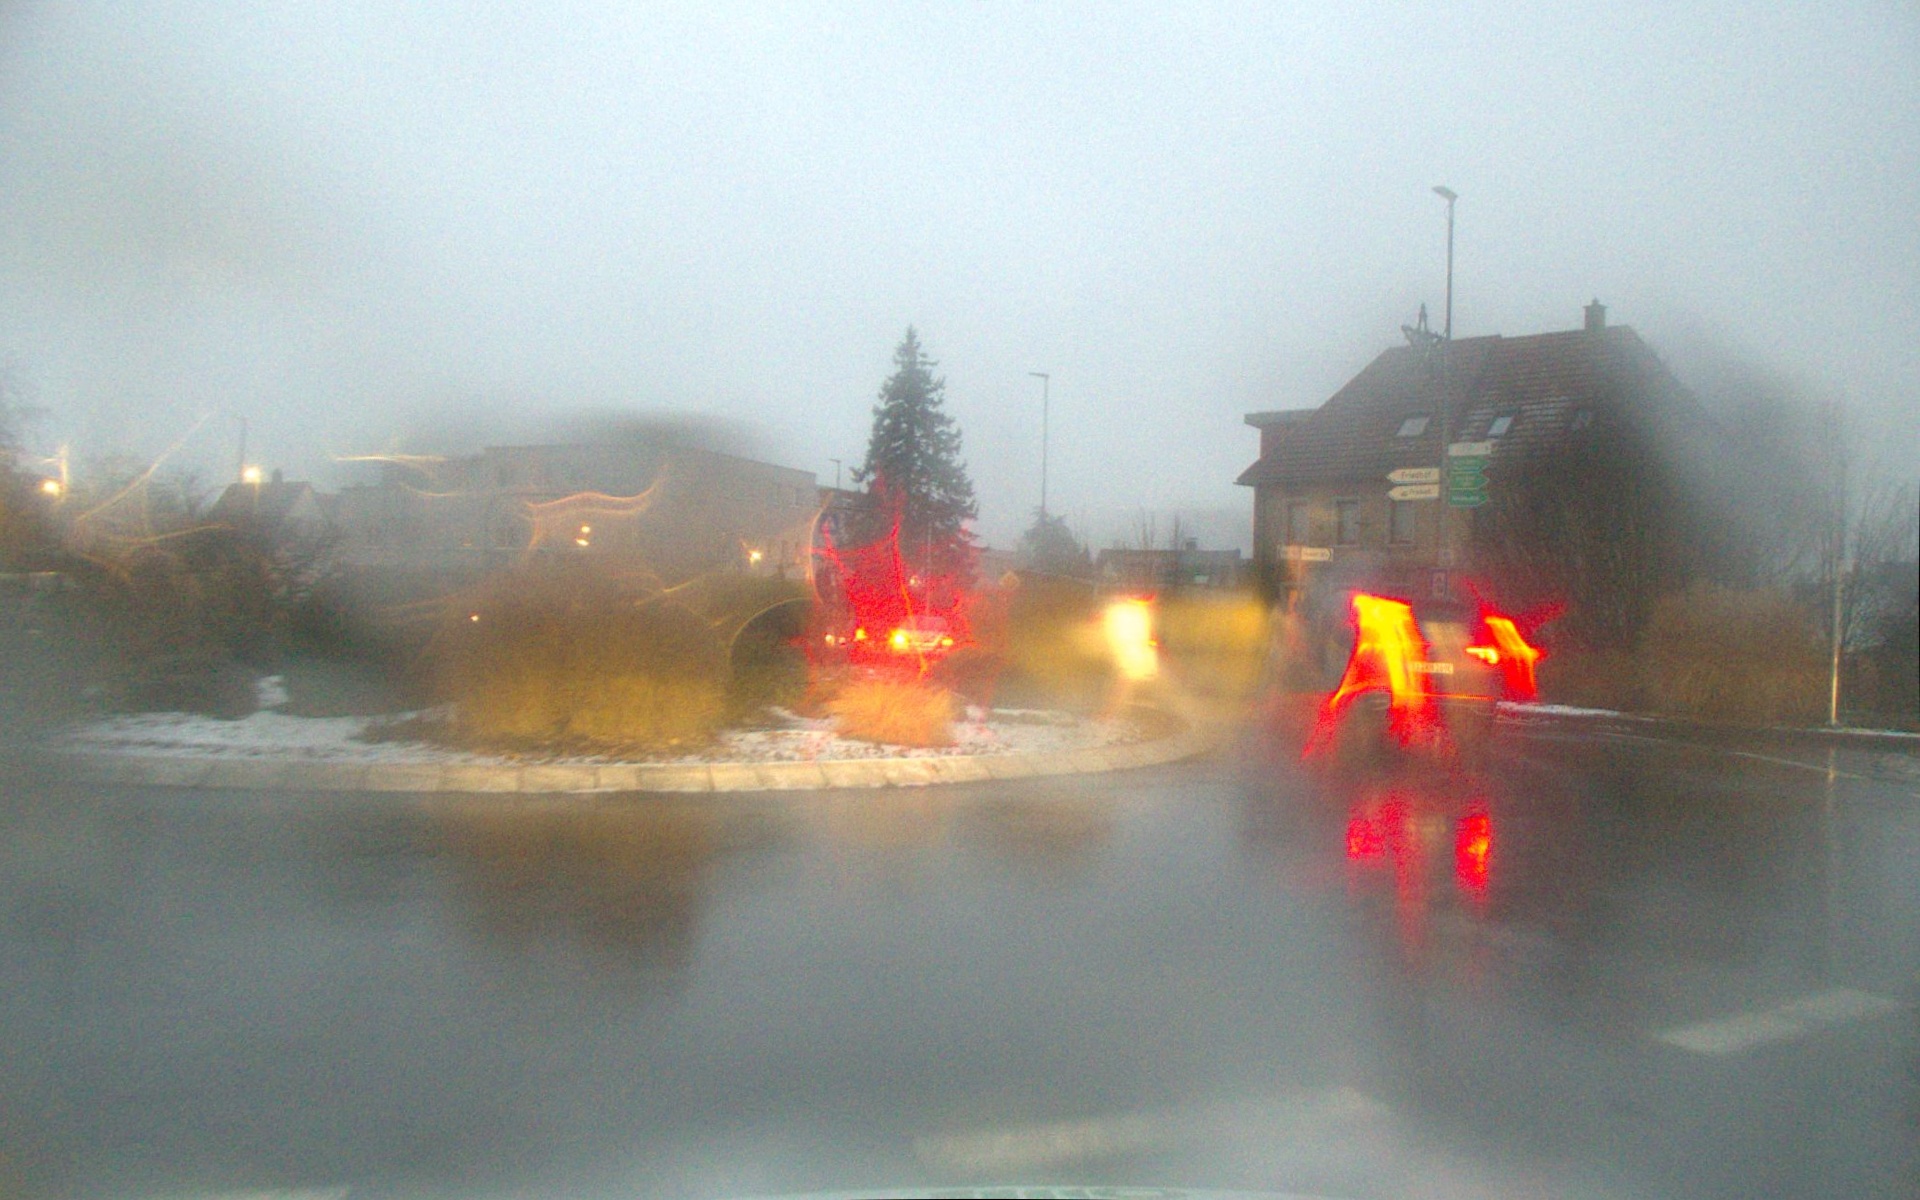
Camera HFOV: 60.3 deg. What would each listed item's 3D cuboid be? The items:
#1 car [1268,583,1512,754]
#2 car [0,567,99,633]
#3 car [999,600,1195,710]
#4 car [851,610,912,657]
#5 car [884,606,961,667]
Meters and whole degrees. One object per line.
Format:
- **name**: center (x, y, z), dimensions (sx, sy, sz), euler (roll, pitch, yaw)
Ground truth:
- **car**: center (4.933, 0.735, 19.558), dimensions (1.904, 1.748, 4.001), euler (2, 0, 2)
- **car**: center (-33.645, -0.057, 58.591), dimensions (1.986, 2.171, 5.420), euler (2, -2, 23)
- **car**: center (2.377, 0.929, 30.083), dimensions (2.128, 1.719, 4.553), euler (1, 1, -15)
- **car**: center (-2.778, 1.197, 57.716), dimensions (1.846, 1.575, 4.565), euler (1, -2, -6)
- **car**: center (-1.139, 1.082, 47.893), dimensions (1.846, 1.643, 4.565), euler (1, -2, -6)
